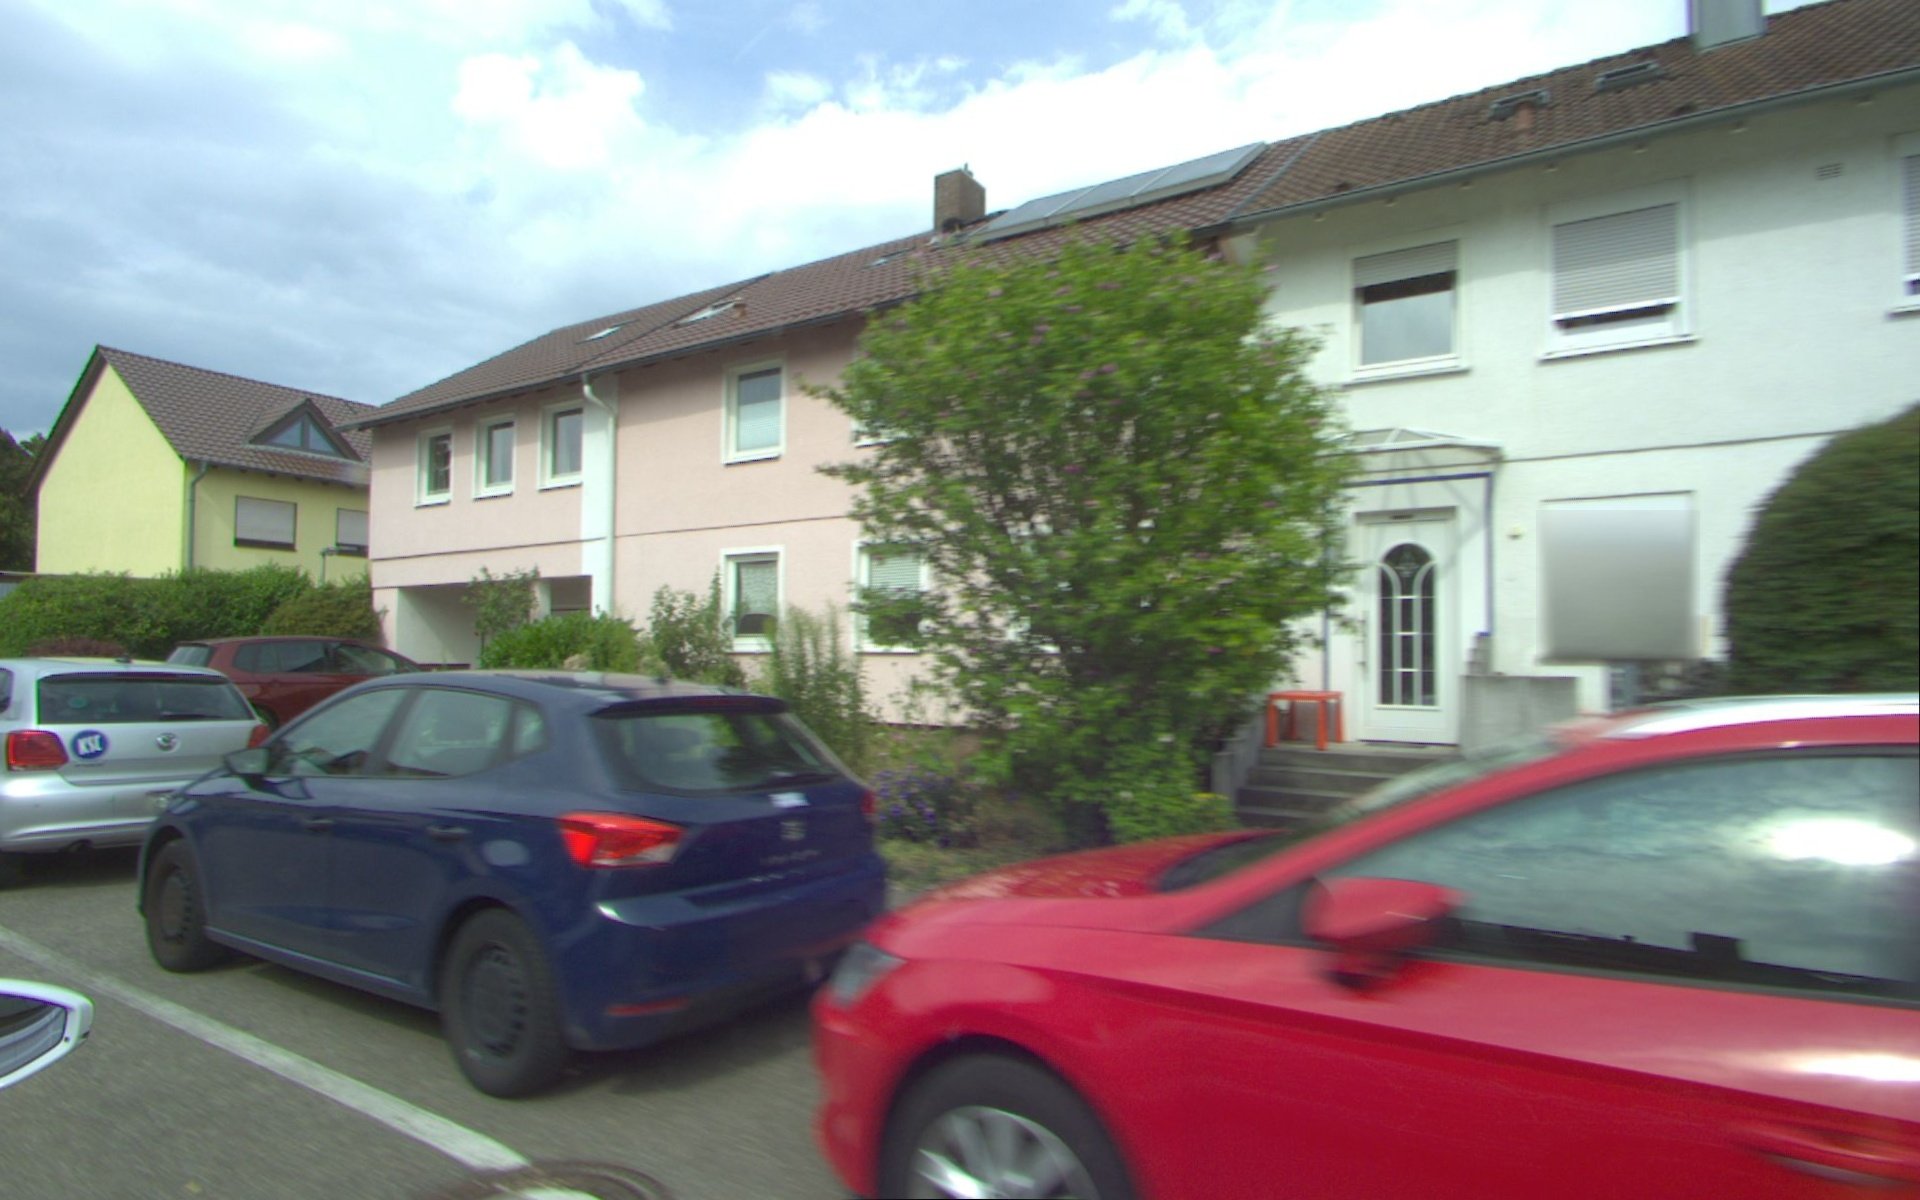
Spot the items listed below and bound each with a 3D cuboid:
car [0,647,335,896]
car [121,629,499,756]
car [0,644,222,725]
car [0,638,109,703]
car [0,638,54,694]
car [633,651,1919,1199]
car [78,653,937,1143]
[{"bbox_3d":[-6.933,1.089,7.679,4.189,1.434,1.864,-1,-3,30],"label":"car"},{"bbox_3d":[-9.309,1.237,14.711,1.907,1.580,4.263,-1,-2,32],"label":"car"},{"bbox_3d":[-17.630,1.607,19.814,1.997,1.451,4.446,-1,-3,30],"label":"car"},{"bbox_3d":[-23.584,1.690,24.314,1.921,1.541,4.043,-1,-3,29],"label":"car"},{"bbox_3d":[-27.516,1.795,27.177,1.811,1.559,3.954,-1,-3,29],"label":"car"},{"bbox_3d":[1.619,0.873,2.148,4.758,1.453,1.772,-2,-5,33],"label":"car"},{"bbox_3d":[-2.337,0.963,4.809,4.205,1.373,1.770,-1,-3,33],"label":"car"}]
